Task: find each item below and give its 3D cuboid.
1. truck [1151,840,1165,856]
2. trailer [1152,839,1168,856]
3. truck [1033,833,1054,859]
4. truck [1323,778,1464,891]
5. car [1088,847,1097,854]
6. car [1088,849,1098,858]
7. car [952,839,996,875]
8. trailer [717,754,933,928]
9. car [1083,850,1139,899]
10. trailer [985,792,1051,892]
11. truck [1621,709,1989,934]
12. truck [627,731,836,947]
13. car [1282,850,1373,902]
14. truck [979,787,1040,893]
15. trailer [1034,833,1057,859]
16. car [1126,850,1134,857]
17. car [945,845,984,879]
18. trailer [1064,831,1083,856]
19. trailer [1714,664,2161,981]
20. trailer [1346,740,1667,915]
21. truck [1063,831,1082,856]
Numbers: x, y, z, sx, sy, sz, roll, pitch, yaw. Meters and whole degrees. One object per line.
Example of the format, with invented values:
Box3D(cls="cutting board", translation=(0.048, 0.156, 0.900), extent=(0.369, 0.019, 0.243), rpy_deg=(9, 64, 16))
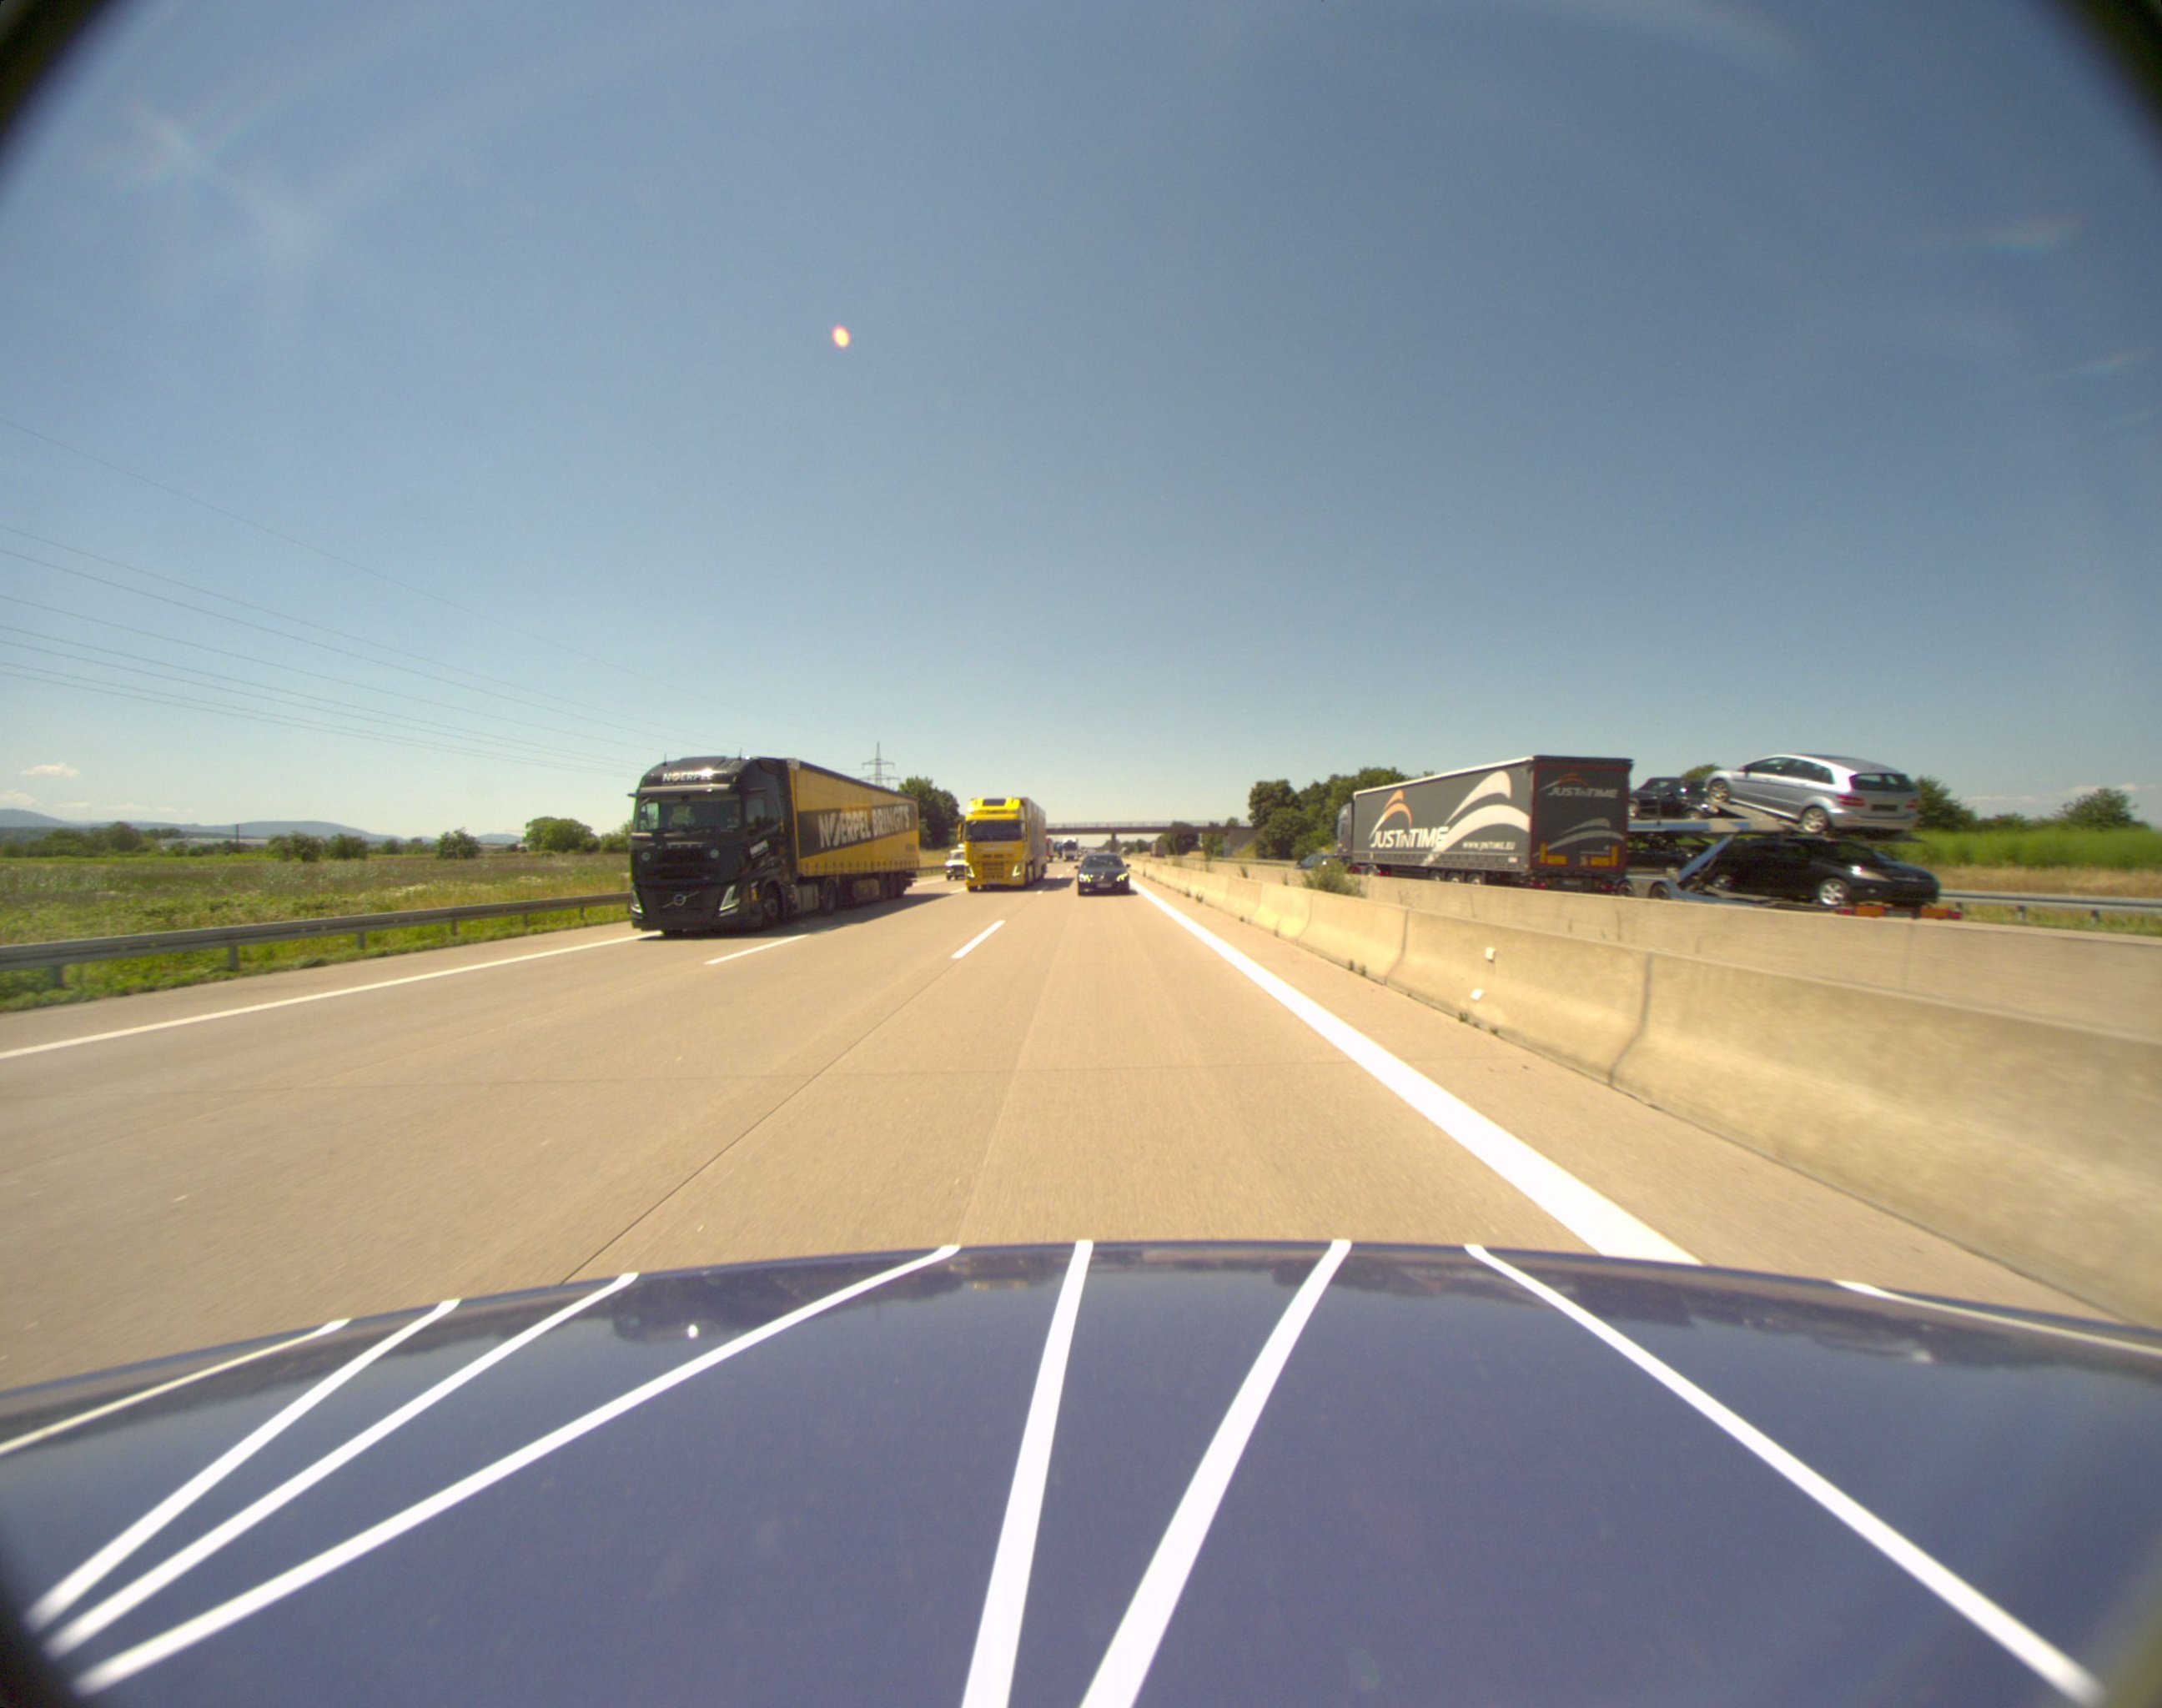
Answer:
Box3D(cls="truck", translation=(20.438, -1.682, 202.235), extent=(2.989, 4.066, 6.465), rpy_deg=(2, 1, 1))
Box3D(cls="trailer", translation=(20.340, -1.659, 196.783), extent=(2.989, 4.066, 11.604), rpy_deg=(2, 1, 1))
Box3D(cls="truck", translation=(-5.969, -1.286, 122.908), extent=(2.960, 4.122, 6.151), rpy_deg=(-2, 1, 0))
Box3D(cls="truck", translation=(13.417, -0.802, 33.412), extent=(3.276, 4.450, 7.188), rpy_deg=(0, 1, 1))
Box3D(cls="car", translation=(3.139, -1.013, 209.893), extent=(1.999, 1.827, 4.815), rpy_deg=(-2, 1, -2))
Box3D(cls="car", translation=(2.542, -0.033, 156.554), extent=(1.998, 1.781, 4.300), rpy_deg=(-2, 1, 1))
Box3D(cls="car", translation=(-7.445, 0.204, 53.560), extent=(2.139, 2.334, 5.515), rpy_deg=(-2, 1, 1))
Box3D(cls="trailer", translation=(-7.644, -0.390, 25.831), extent=(1.998, 4.169, 14.744), rpy_deg=(-2, 1, 1))
Box3D(cls="car", translation=(1.054, 0.679, 27.612), extent=(1.848, 1.576, 3.939), rpy_deg=(-2, 1, 1))
Box3D(cls="trailer", translation=(-2.991, -0.582, 40.233), extent=(1.998, 4.230, 15.197), rpy_deg=(-2, 1, 0))
Box3D(cls="truck", translation=(17.372, -0.702, 19.017), extent=(3.239, 4.580, 6.250), rpy_deg=(-2, 1, 1))
Box3D(cls="truck", translation=(-7.774, -0.309, 17.778), extent=(1.998, 4.169, 5.705), rpy_deg=(-2, 1, 1))
Box3D(cls="car", translation=(9.396, 0.762, 29.410), extent=(1.998, 1.772, 4.743), rpy_deg=(-2, 1, 1))
Box3D(cls="truck", translation=(-3.043, -0.582, 33.399), extent=(1.998, 4.230, 5.194), rpy_deg=(-2, 1, 0))
Box3D(cls="trailer", translation=(-5.925, -1.335, 129.346), extent=(2.959, 4.122, 13.809), rpy_deg=(-2, 1, 1))
Box3D(cls="car", translation=(13.102, -0.103, 203.386), extent=(1.998, 1.851, 5.466), rpy_deg=(-2, 1, 1))
Box3D(cls="car", translation=(-7.476, 0.474, 48.887), extent=(1.788, 2.002, 3.819), rpy_deg=(-2, 1, 1))
Box3D(cls="trailer", translation=(-1.286, -1.777, 134.398), extent=(2.959, 4.122, 12.024), rpy_deg=(-2, 1, 1))
Box3D(cls="trailer", translation=(17.261, -0.521, 12.656), extent=(3.239, 4.580, 12.292), rpy_deg=(-2, 1, 1))
Box3D(cls="trailer", translation=(13.362, -0.738, 26.615), extent=(3.276, 4.450, 14.450), rpy_deg=(0, 1, 1))
Box3D(cls="truck", translation=(-1.382, -1.779, 129.685), extent=(2.959, 4.122, 6.151), rpy_deg=(-2, 1, 1))
